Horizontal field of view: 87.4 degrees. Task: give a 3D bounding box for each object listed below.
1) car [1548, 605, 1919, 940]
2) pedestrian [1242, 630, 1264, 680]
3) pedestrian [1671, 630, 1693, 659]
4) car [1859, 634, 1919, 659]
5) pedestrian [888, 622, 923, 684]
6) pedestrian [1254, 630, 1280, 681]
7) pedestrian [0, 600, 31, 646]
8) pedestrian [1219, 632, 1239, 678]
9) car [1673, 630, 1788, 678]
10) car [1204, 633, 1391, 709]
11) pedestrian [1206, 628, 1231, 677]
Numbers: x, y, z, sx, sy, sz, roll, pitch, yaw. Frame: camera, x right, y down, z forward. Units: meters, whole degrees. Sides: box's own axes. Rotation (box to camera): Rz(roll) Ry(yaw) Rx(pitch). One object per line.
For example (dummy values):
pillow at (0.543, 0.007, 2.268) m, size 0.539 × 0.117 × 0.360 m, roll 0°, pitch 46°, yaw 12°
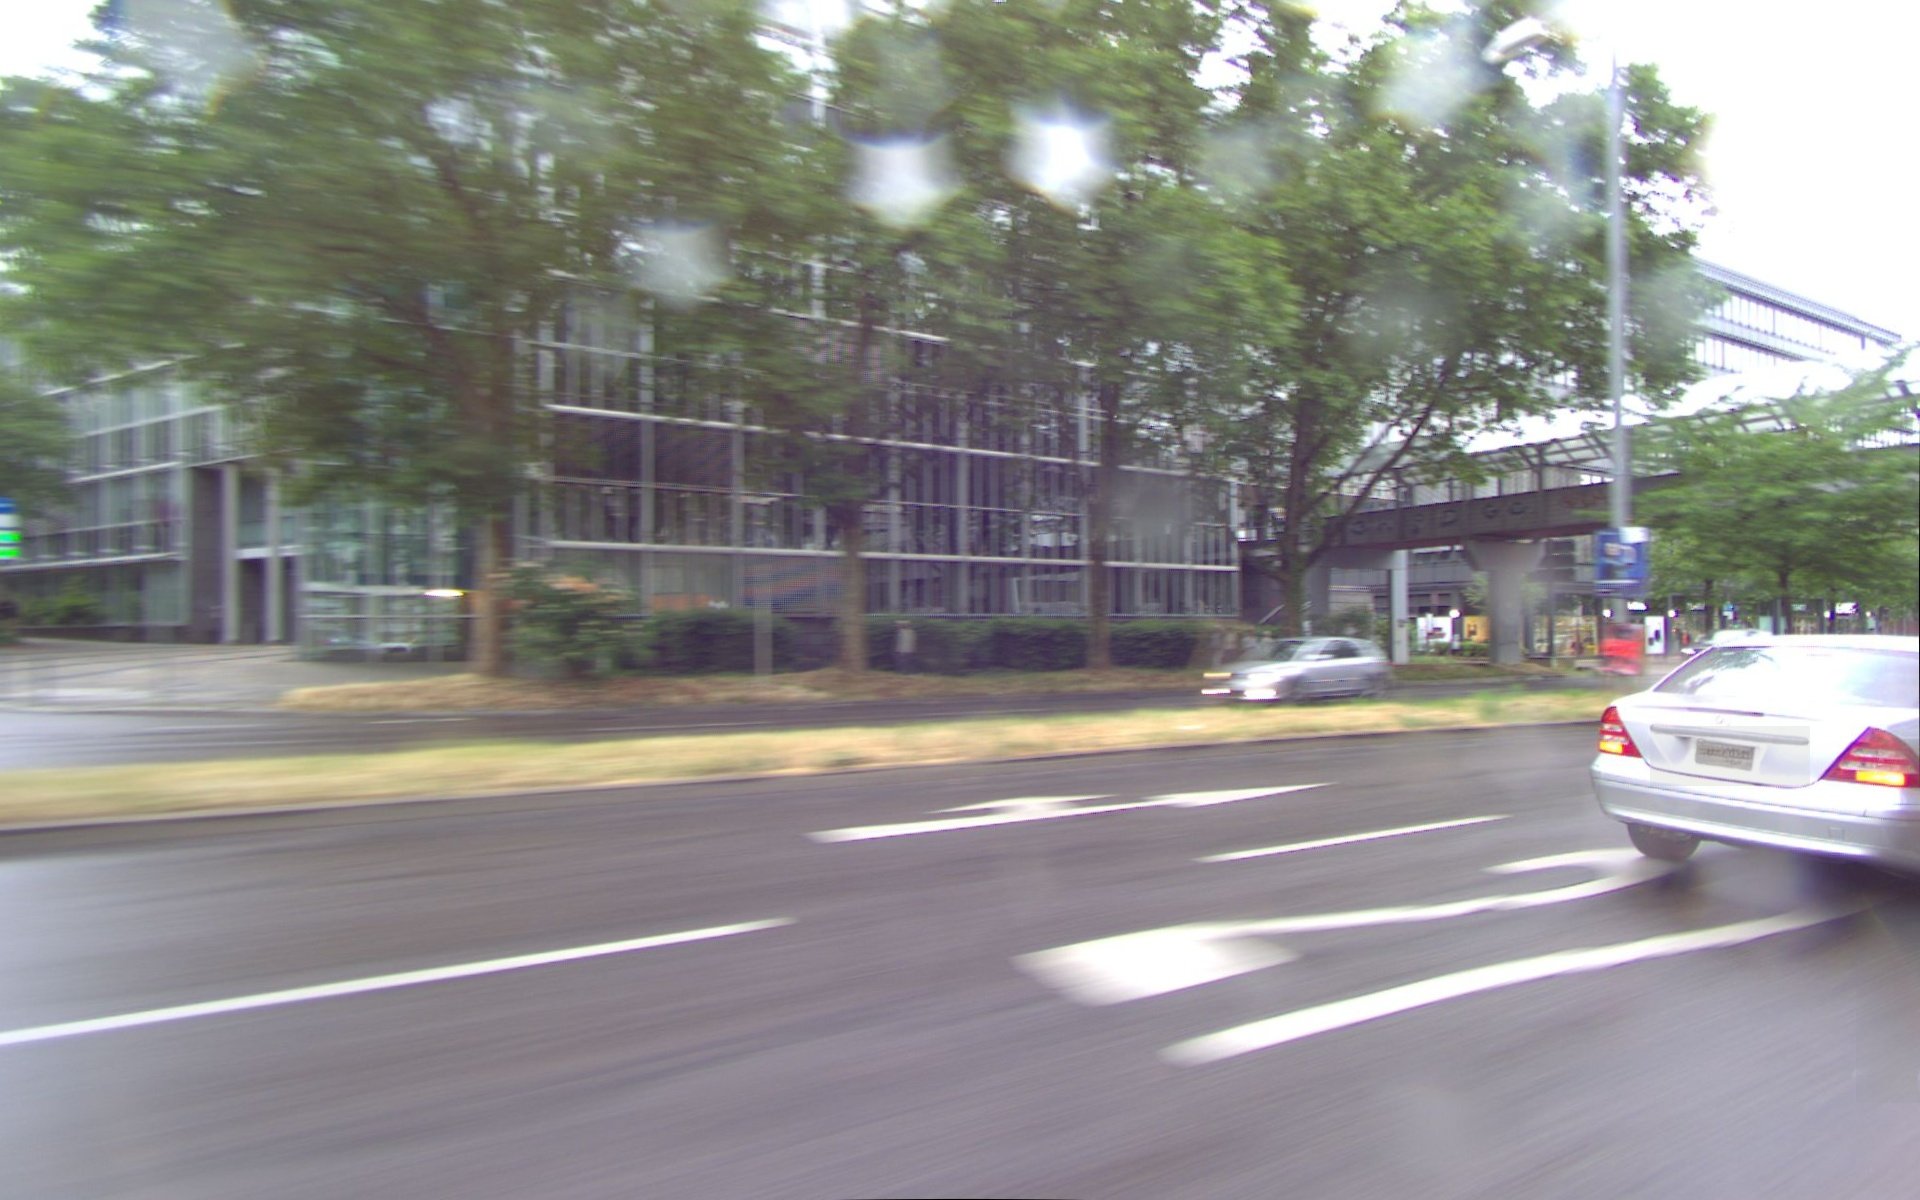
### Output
car at (5.780, 0.858, 6.296) m, size 4.308 × 1.498 × 1.665 m, roll 3°, pitch -1°, yaw -29°
pedestrian at (10.912, 2.046, 37.425) m, size 0.505 × 1.831 × 0.603 m, roll 1°, pitch -1°, yaw -30°
pedestrian at (44.418, 2.750, 61.820) m, size 1.045 × 1.738 × 0.739 m, roll 1°, pitch -1°, yaw -31°
car at (56.361, 2.835, 60.894) m, size 4.397 × 1.451 × 1.615 m, roll 3°, pitch -2°, yaw -32°
pedestrian at (-1.646, 1.587, 30.238) m, size 0.793 × 1.831 × 0.731 m, roll 1°, pitch -1°, yaw -30°
pedestrian at (11.304, 2.036, 36.991) m, size 0.751 × 1.831 × 0.593 m, roll 1°, pitch -1°, yaw -30°
pedestrian at (-34.680, 0.835, 36.892) m, size 0.647 × 1.652 × 0.740 m, roll 0°, pitch -1°, yaw 38°
pedestrian at (10.061, 2.060, 37.577) m, size 0.505 × 1.708 × 0.557 m, roll 1°, pitch -1°, yaw -30°
car at (30.907, 2.193, 40.256) m, size 5.129 × 1.791 × 1.990 m, roll 2°, pitch -5°, yaw -33°
car at (7.248, 1.502, 21.446) m, size 4.038 × 1.483 × 1.652 m, roll 2°, pitch -4°, yaw -33°
pedestrian at (9.847, 2.003, 38.229) m, size 0.610 × 1.831 × 0.719 m, roll 1°, pitch -1°, yaw -30°
